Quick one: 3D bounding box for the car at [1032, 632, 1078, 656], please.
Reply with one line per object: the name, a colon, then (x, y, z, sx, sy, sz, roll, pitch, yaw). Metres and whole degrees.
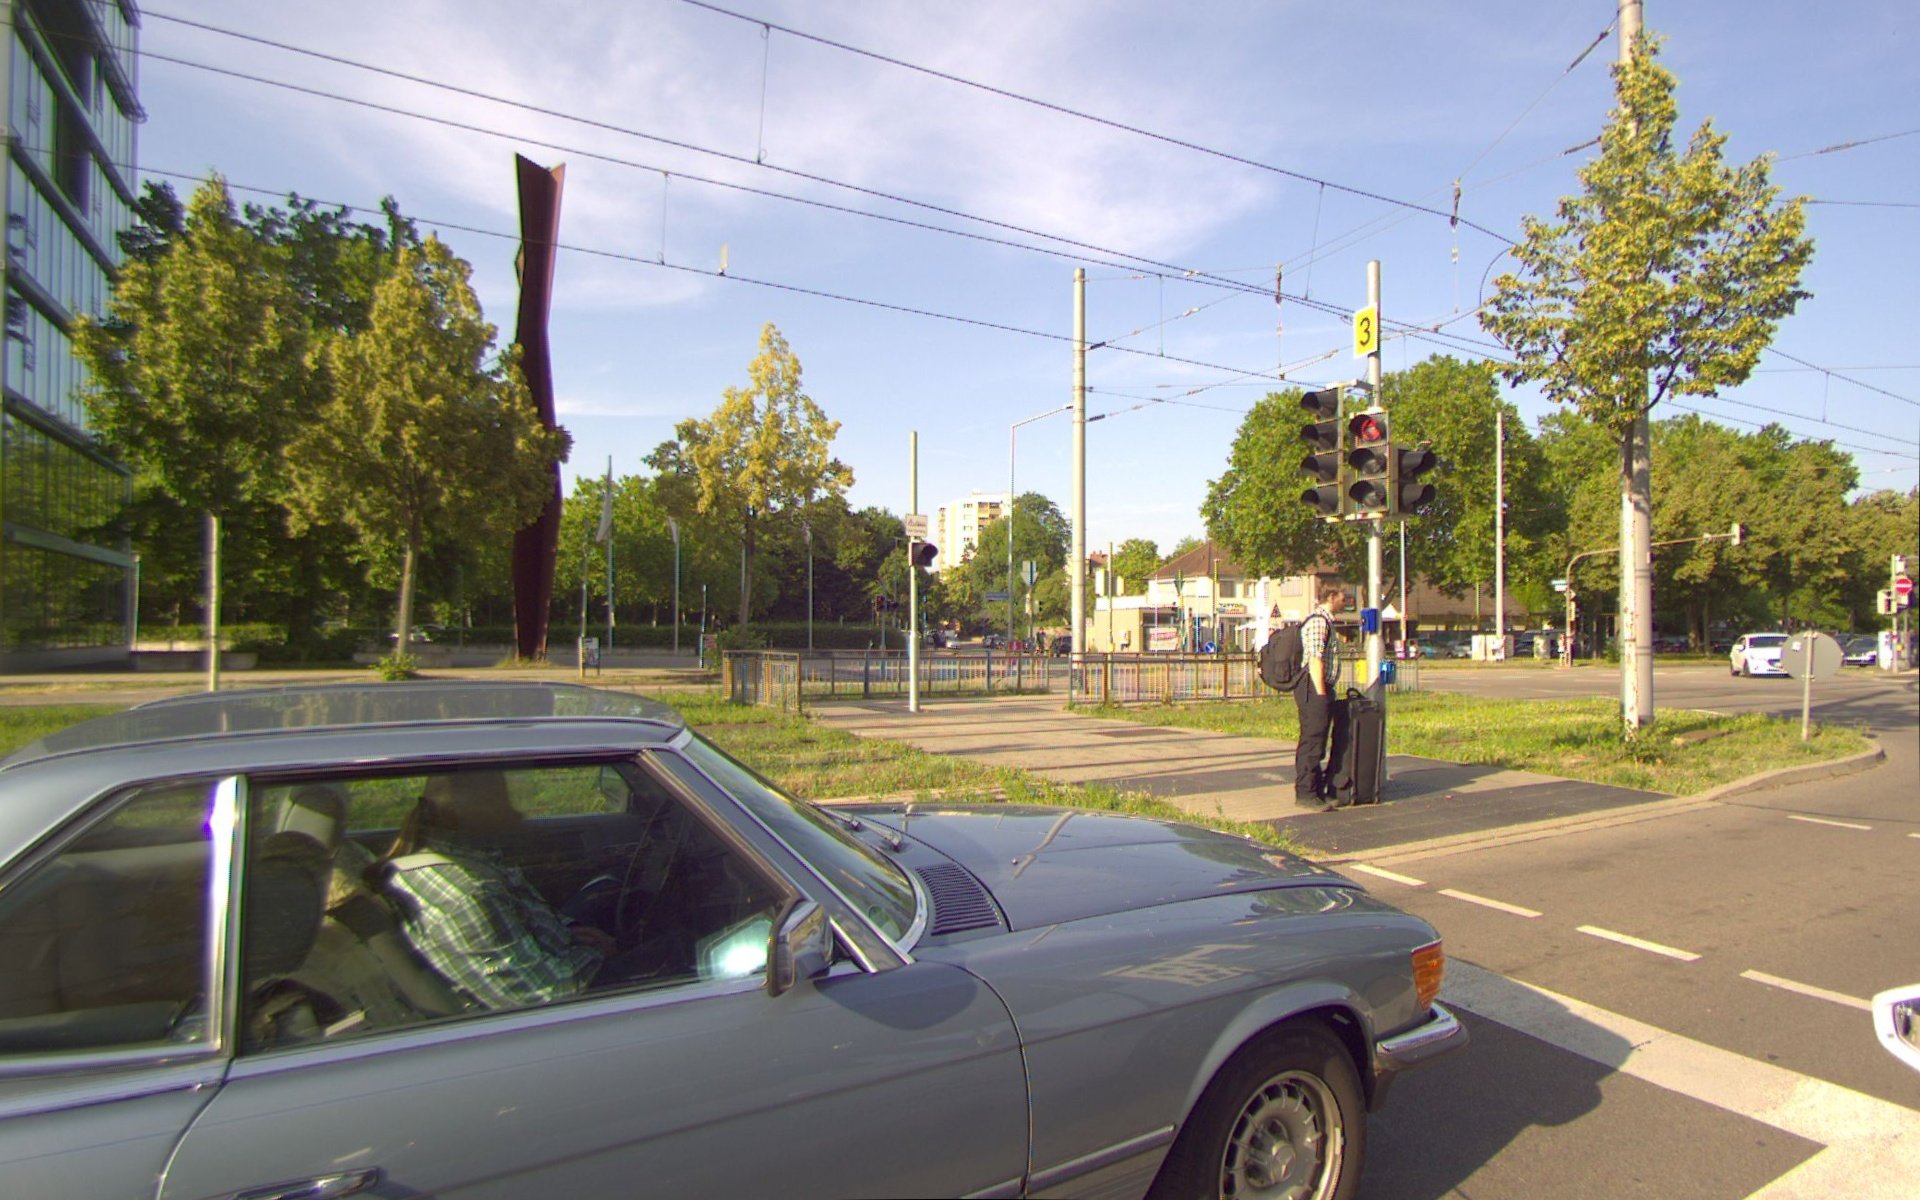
car: (7.450, 3.448, 79.248, 1.971, 1.750, 3.979, 1, -2, -22)

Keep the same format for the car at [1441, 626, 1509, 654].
car: (33.430, 2.616, 65.214, 3.945, 1.773, 1.876, 1, -2, -25)

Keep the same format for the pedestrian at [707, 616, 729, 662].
pedestrian: (-11.430, 1.839, 47.434, 0.864, 2.135, 0.724, -1, -3, -1)

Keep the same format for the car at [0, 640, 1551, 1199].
car: (-0.785, 0.831, 2.217, 4.349, 1.348, 1.754, 0, 0, -31)

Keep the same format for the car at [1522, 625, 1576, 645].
car: (47.869, 2.844, 81.580, 3.945, 1.580, 1.876, 1, -2, -25)

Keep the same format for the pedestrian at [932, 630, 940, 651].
pedestrian: (-1.962, 3.326, 82.601, 0.654, 1.654, 0.664, 0, -1, -2)

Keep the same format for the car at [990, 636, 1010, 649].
car: (4.666, 4.964, 117.663, 1.667, 1.491, 3.941, 0, -2, -8)

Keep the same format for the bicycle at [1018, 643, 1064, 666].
bicycle: (3.844, 2.576, 47.735, 2.168, 1.055, 0.697, -1, -2, 38)

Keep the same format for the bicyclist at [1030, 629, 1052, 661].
bicyclist: (3.858, 2.113, 47.737, 0.836, 1.512, 0.697, -1, -2, 38)

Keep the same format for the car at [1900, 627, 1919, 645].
car: (87.798, 3.285, 91.474, 3.945, 1.580, 1.876, 1, -2, -25)

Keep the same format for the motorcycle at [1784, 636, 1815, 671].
motorcycle: (33.376, 2.107, 39.918, 0.810, 1.280, 2.534, 0, 0, 43)

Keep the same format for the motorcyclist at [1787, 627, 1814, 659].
motorcyclist: (33.246, 1.686, 39.740, 0.773, 1.219, 0.843, 1, 1, 43)

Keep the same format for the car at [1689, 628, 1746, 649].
car: (58.617, 2.955, 77.733, 3.945, 1.580, 1.876, 1, -2, -25)

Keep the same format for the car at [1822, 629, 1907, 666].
car: (41.711, 2.192, 46.297, 4.524, 1.480, 1.720, 4, -3, -31)

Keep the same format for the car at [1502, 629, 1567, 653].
car: (38.817, 2.765, 67.828, 3.945, 1.580, 1.876, 1, -2, -25)

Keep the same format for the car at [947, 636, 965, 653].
car: (-0.425, 5.011, 113.737, 1.961, 1.806, 4.000, 0, -2, -1)

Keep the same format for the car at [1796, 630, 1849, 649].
car: (72.115, 3.301, 83.988, 3.945, 1.580, 1.876, 1, -2, -25)

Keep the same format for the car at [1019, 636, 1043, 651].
car: (7.052, 4.323, 100.320, 1.667, 1.491, 3.941, 0, -2, -8)

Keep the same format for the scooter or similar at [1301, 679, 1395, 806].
scooter or similar: (3.077, 1.111, 7.976, 0.424, 0.919, 0.546, 1, 0, -29)

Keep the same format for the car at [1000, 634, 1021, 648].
car: (5.579, 4.563, 111.833, 1.667, 1.491, 3.941, 0, -2, -8)

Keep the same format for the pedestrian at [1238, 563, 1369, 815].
pedestrian: (2.622, 0.644, 7.698, 0.628, 1.816, 0.696, 1, 0, -29)

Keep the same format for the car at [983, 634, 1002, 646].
car: (3.959, 4.918, 123.451, 1.667, 1.491, 3.941, 0, -2, -8)

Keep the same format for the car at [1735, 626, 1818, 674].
car: (27.714, 1.696, 34.217, 1.968, 1.524, 4.078, -1, -3, 36)

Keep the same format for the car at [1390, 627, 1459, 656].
car: (29.206, 2.575, 63.138, 3.945, 1.773, 1.876, 1, -2, -25)
